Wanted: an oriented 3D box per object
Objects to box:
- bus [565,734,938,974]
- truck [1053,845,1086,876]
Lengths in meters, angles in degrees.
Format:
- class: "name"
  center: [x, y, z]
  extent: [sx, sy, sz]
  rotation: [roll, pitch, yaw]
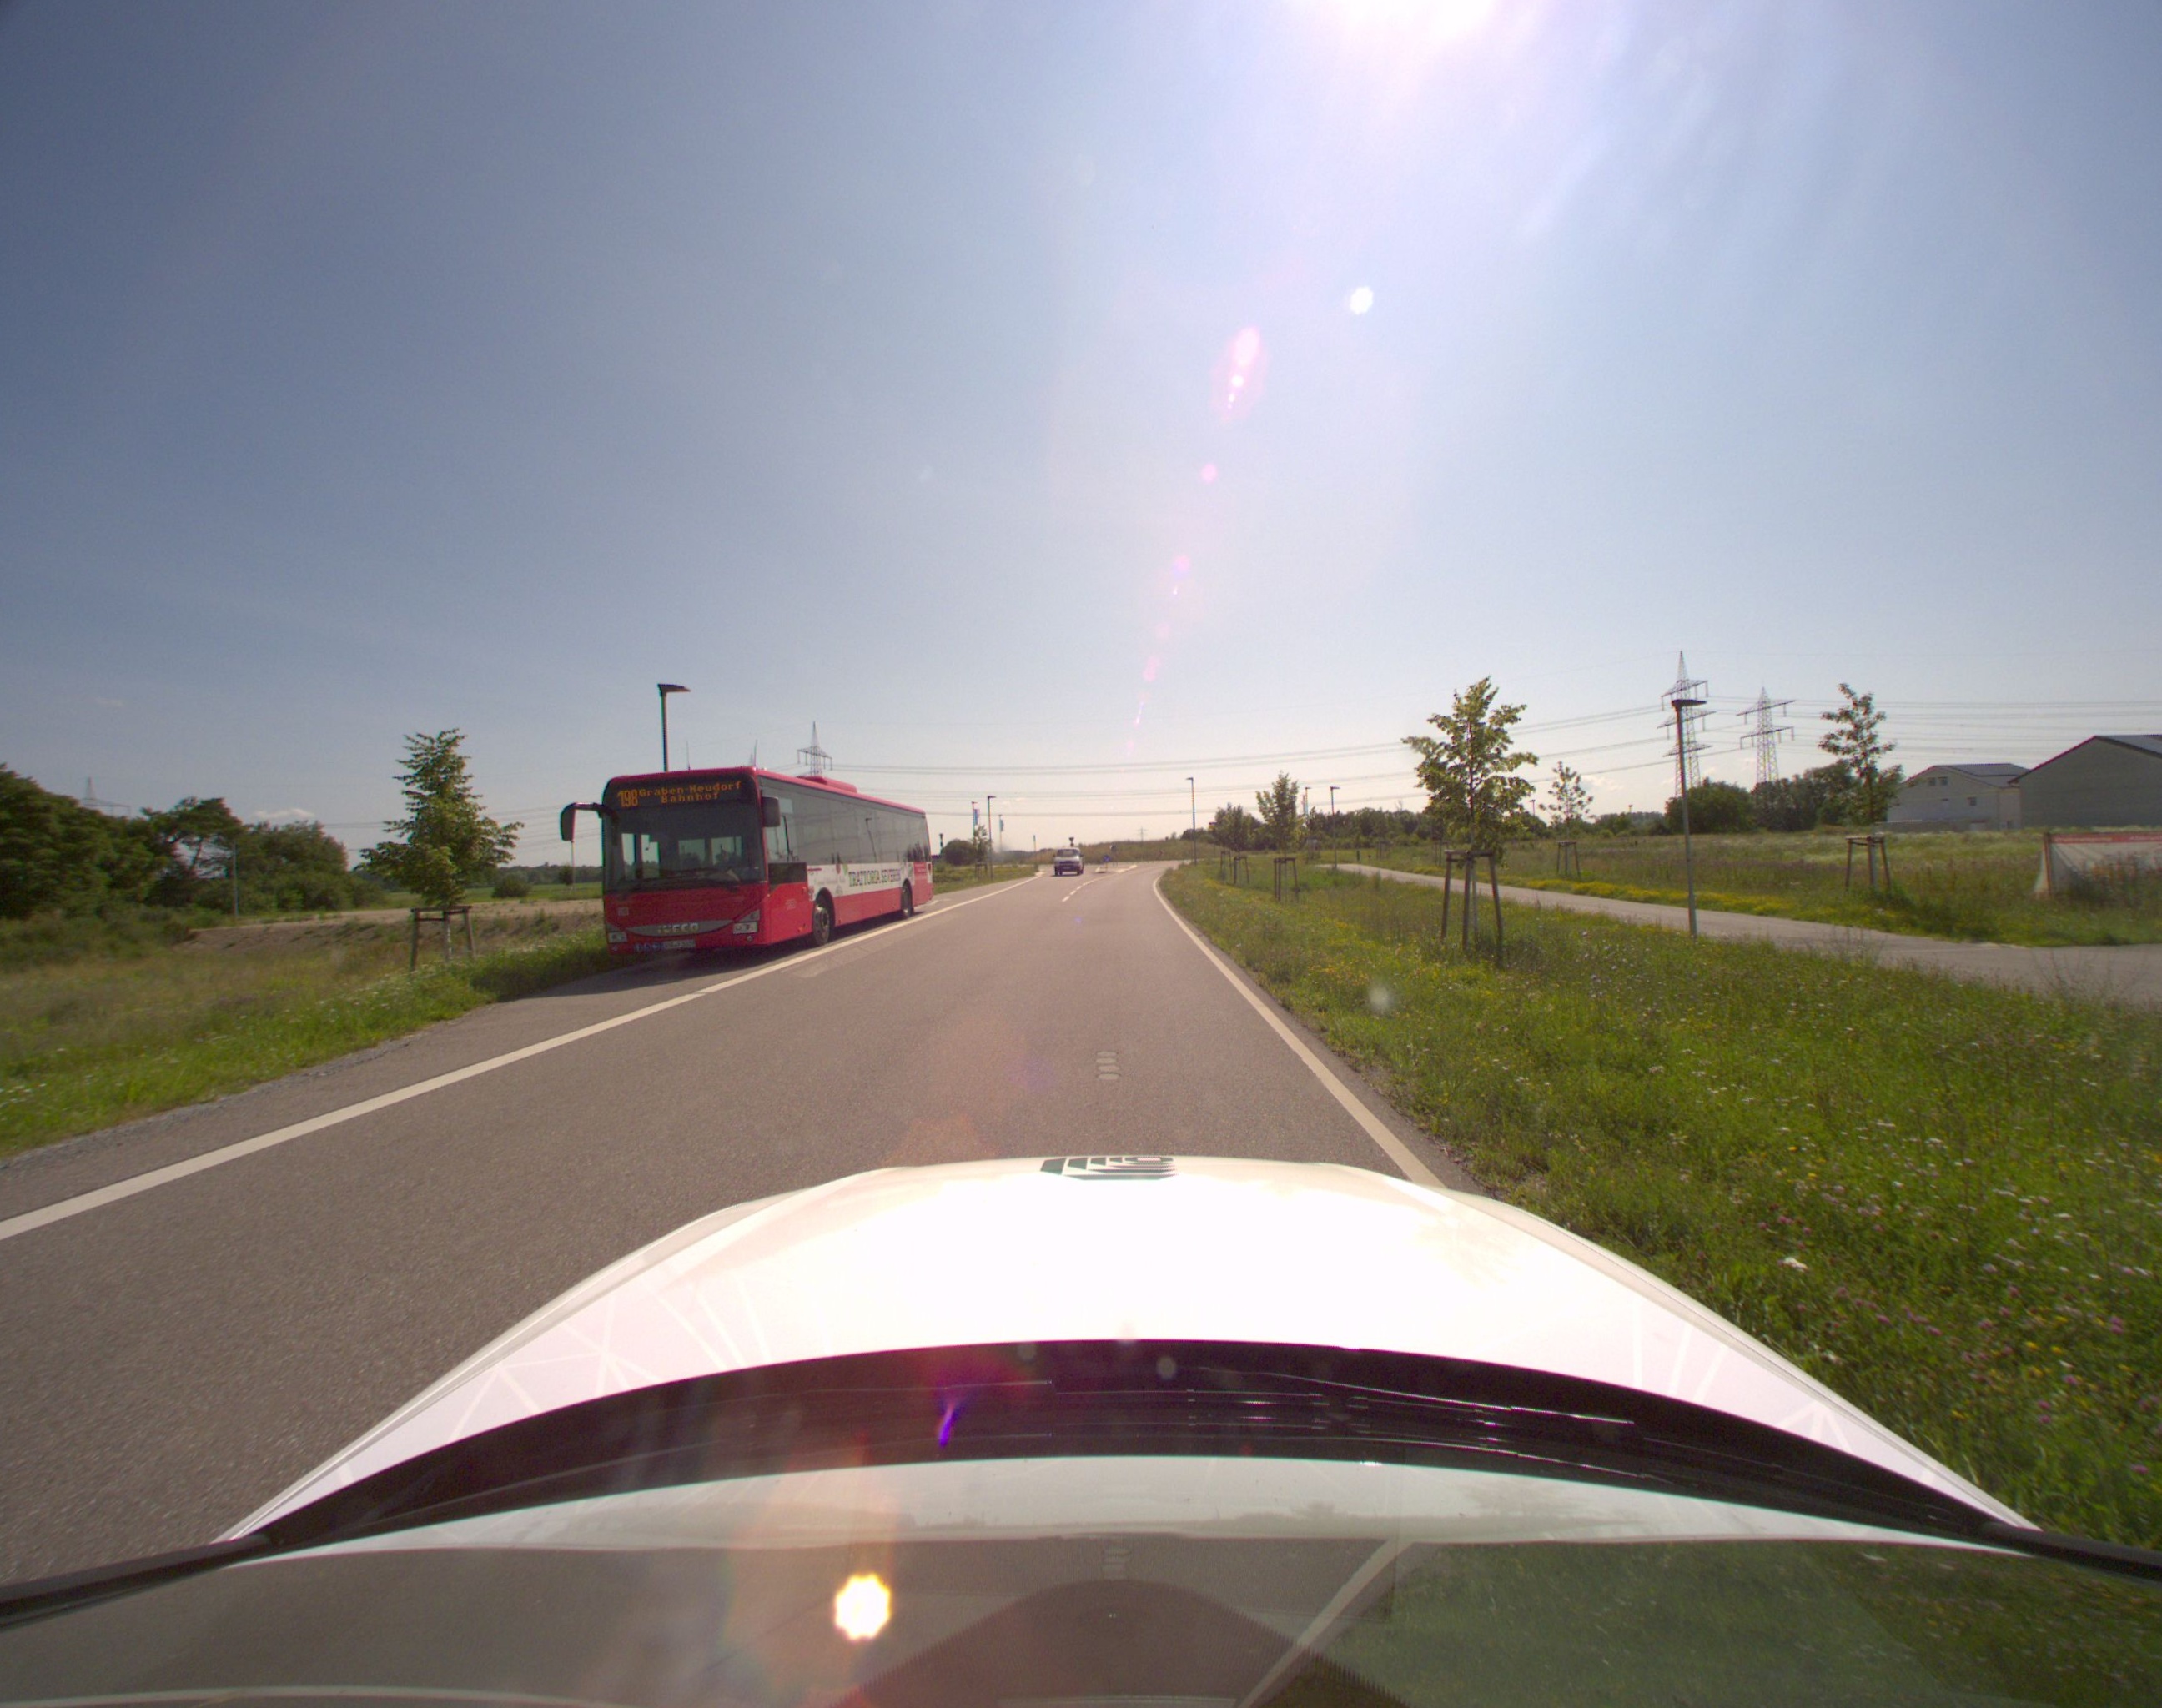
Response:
- class: "bus"
  center: [-5.823, 0.006, 17.848]
  extent: [2.784, 3.287, 12.232]
  rotation: [-4, 0, 1]
- class: "truck"
  center: [-0.764, 0.428, 58.876]
  extent: [1.944, 1.984, 5.648]
  rotation: [-4, 0, 3]
